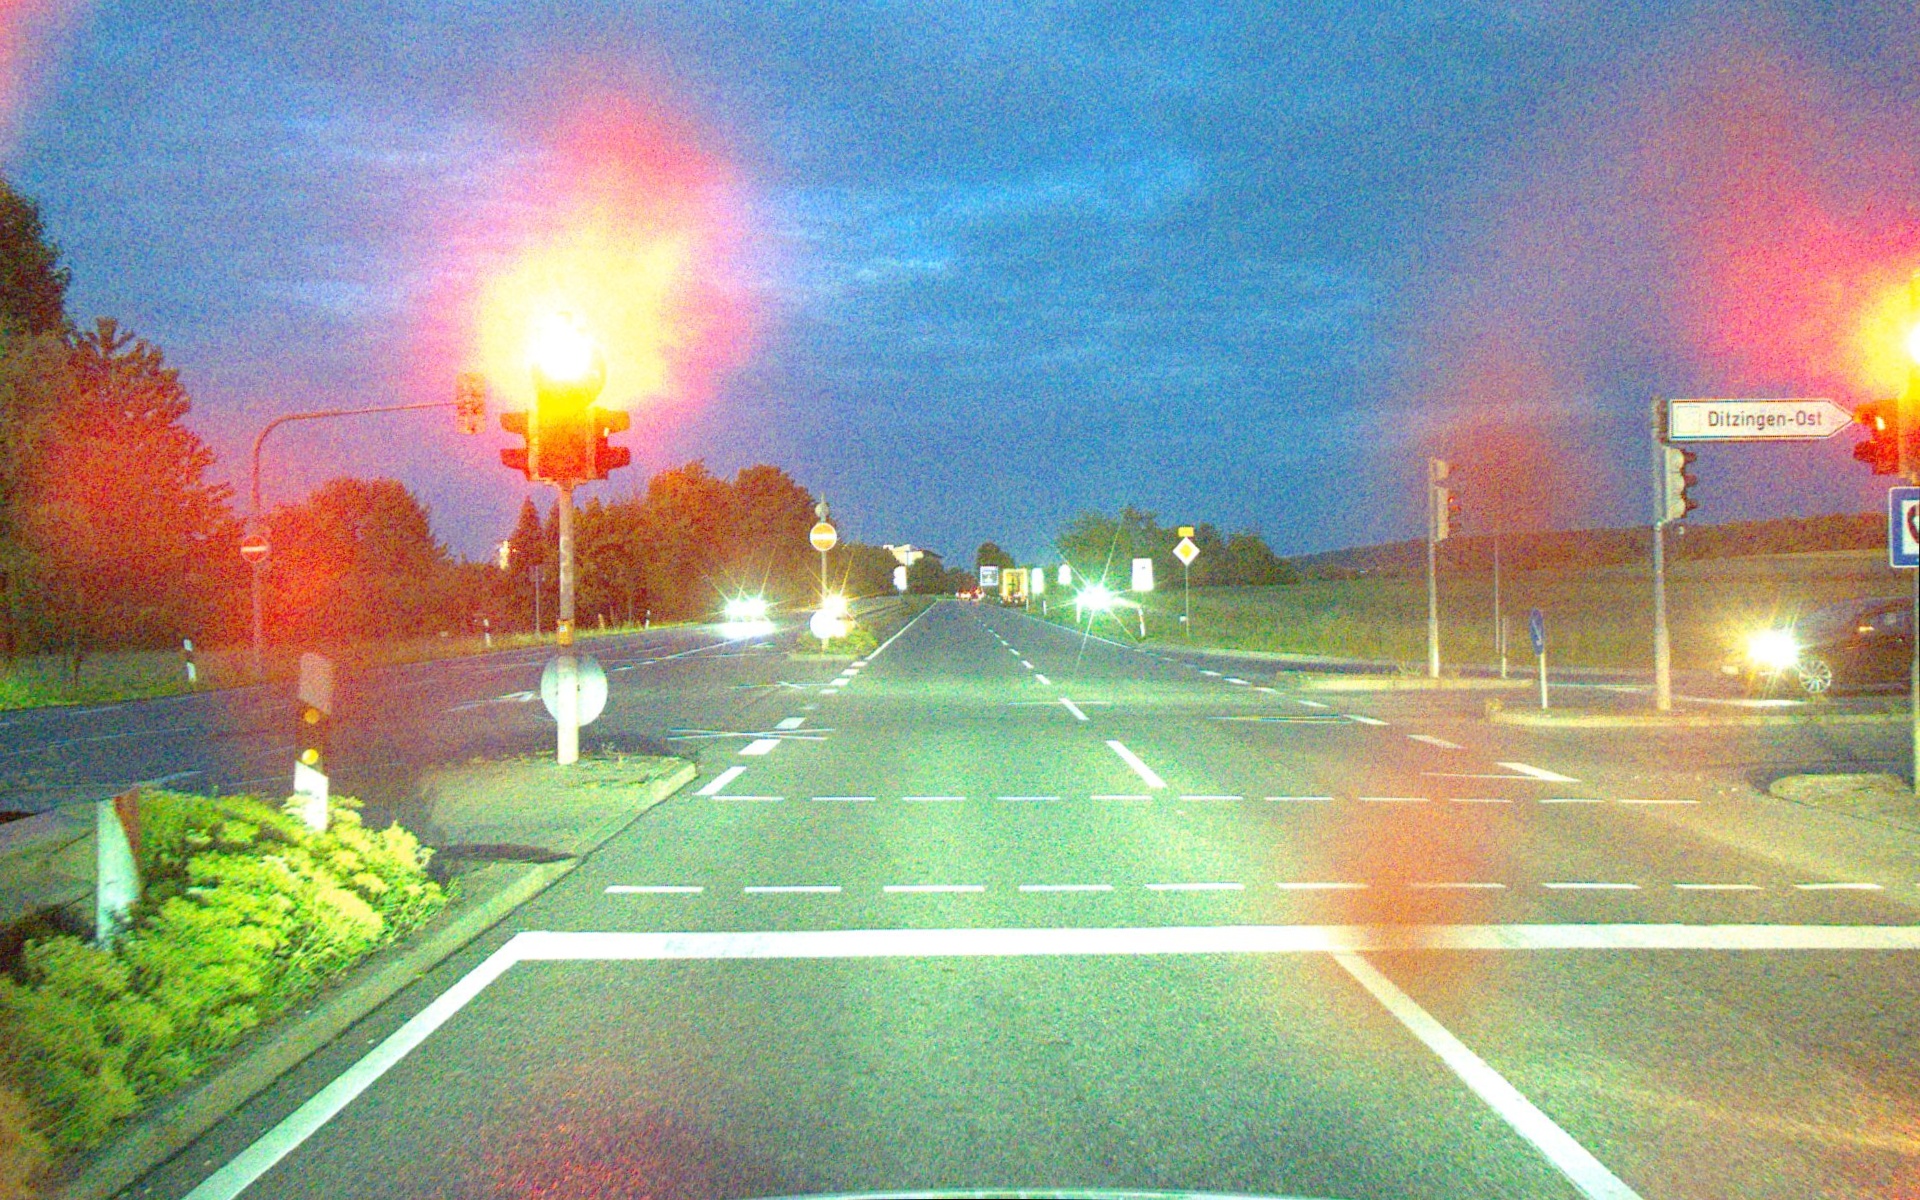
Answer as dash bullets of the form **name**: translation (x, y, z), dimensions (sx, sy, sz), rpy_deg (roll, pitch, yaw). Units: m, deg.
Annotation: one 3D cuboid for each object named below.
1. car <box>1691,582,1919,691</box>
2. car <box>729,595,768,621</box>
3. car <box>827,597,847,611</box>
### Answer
- **car**: translation (14.179, 0.528, 25.951), dimensions (4.507, 1.547, 2.000), rpy_deg (-2, 0, 0)
- **car**: translation (-13.158, 0.482, 103.101), dimensions (1.953, 1.545, 4.297), rpy_deg (-1, 0, -1)
- **car**: translation (-13.441, 0.409, 181.091), dimensions (1.953, 1.411, 3.999), rpy_deg (-1, 0, -1)
